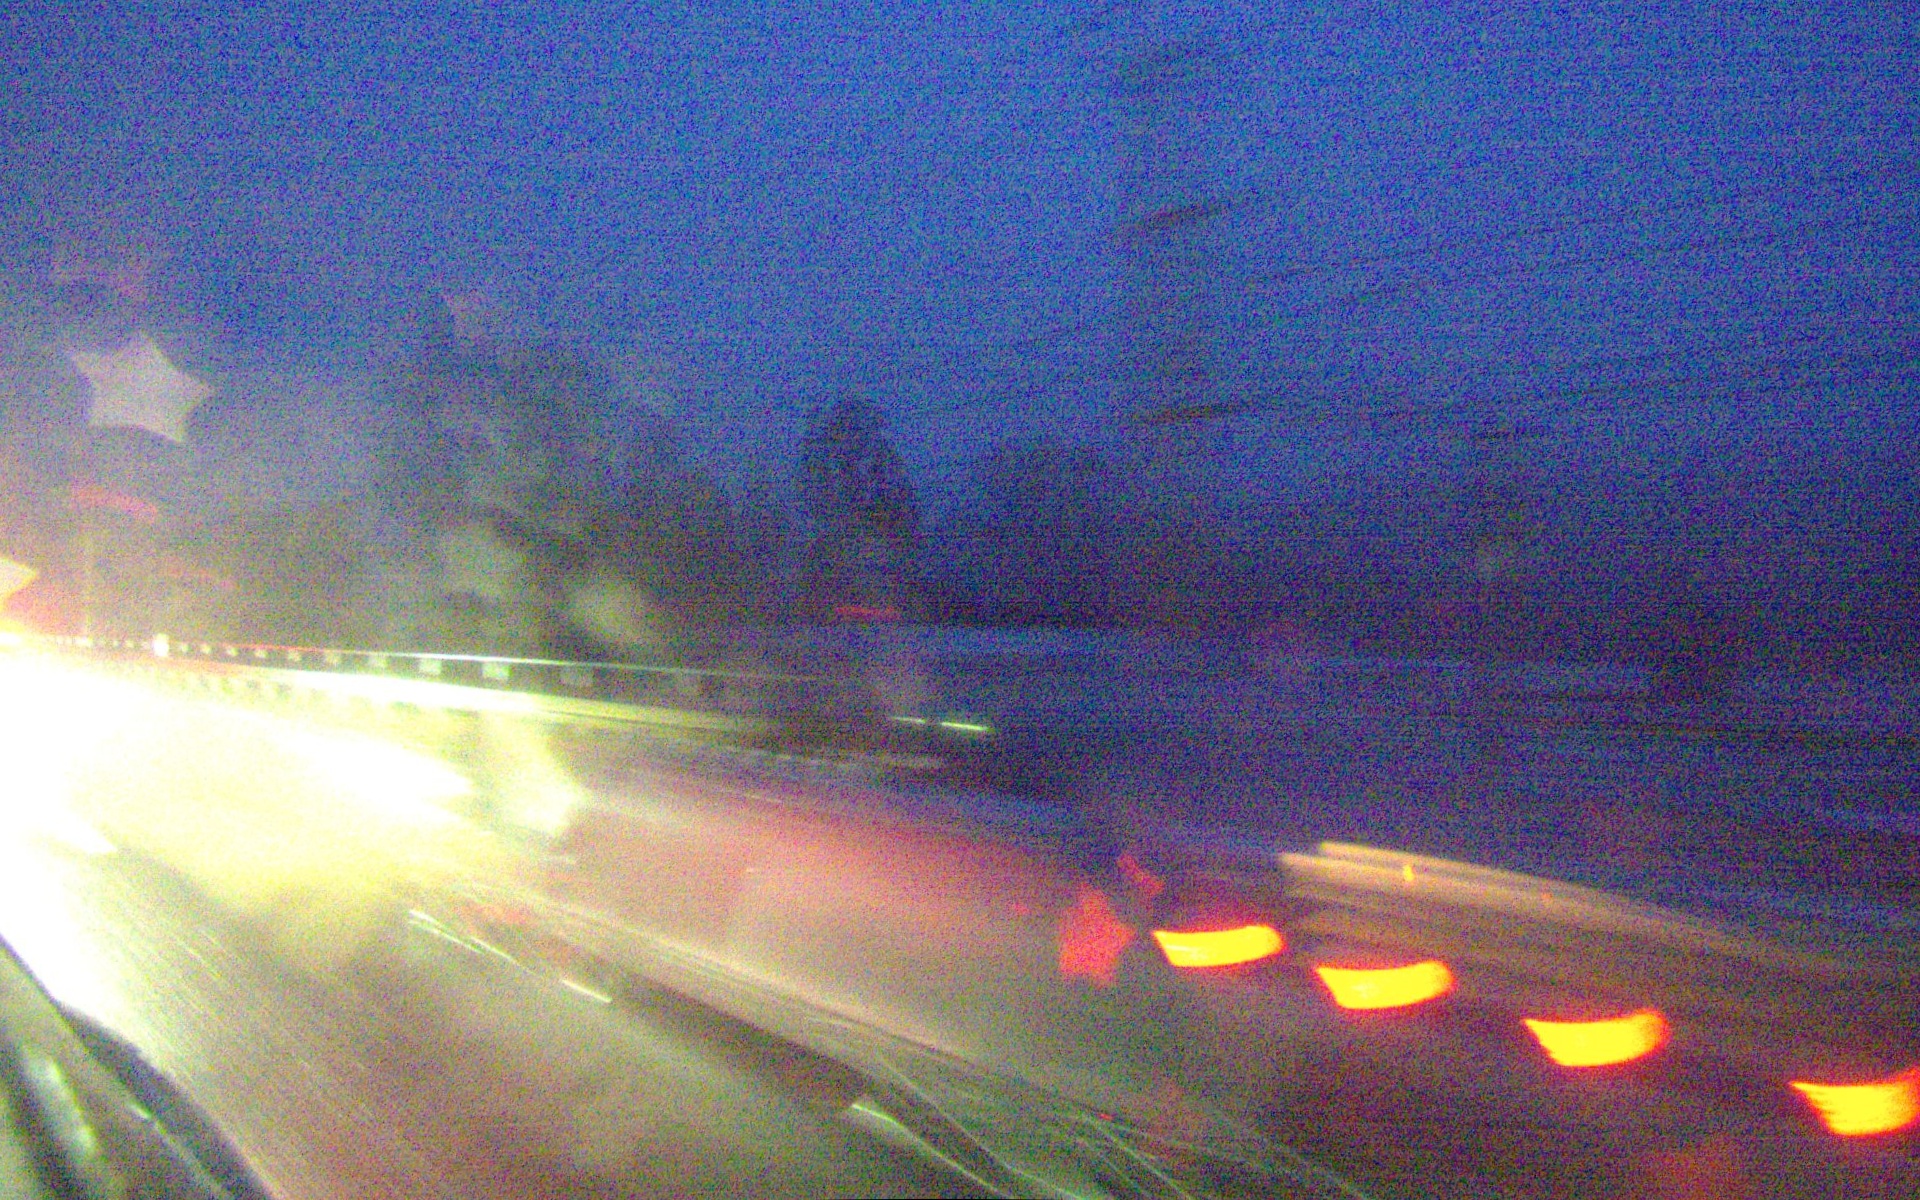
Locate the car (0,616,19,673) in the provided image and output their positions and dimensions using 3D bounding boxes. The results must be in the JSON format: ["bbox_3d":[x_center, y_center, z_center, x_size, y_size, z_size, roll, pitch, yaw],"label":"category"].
[{"bbox_3d":[-29.246,1.286,29.840,4.405,1.640,1.785,-1,-3,42],"label":"car"}]

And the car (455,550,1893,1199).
[{"bbox_3d":[0.128,0.778,3.505,4.488,1.531,1.747,-1,-4,41],"label":"car"}]
